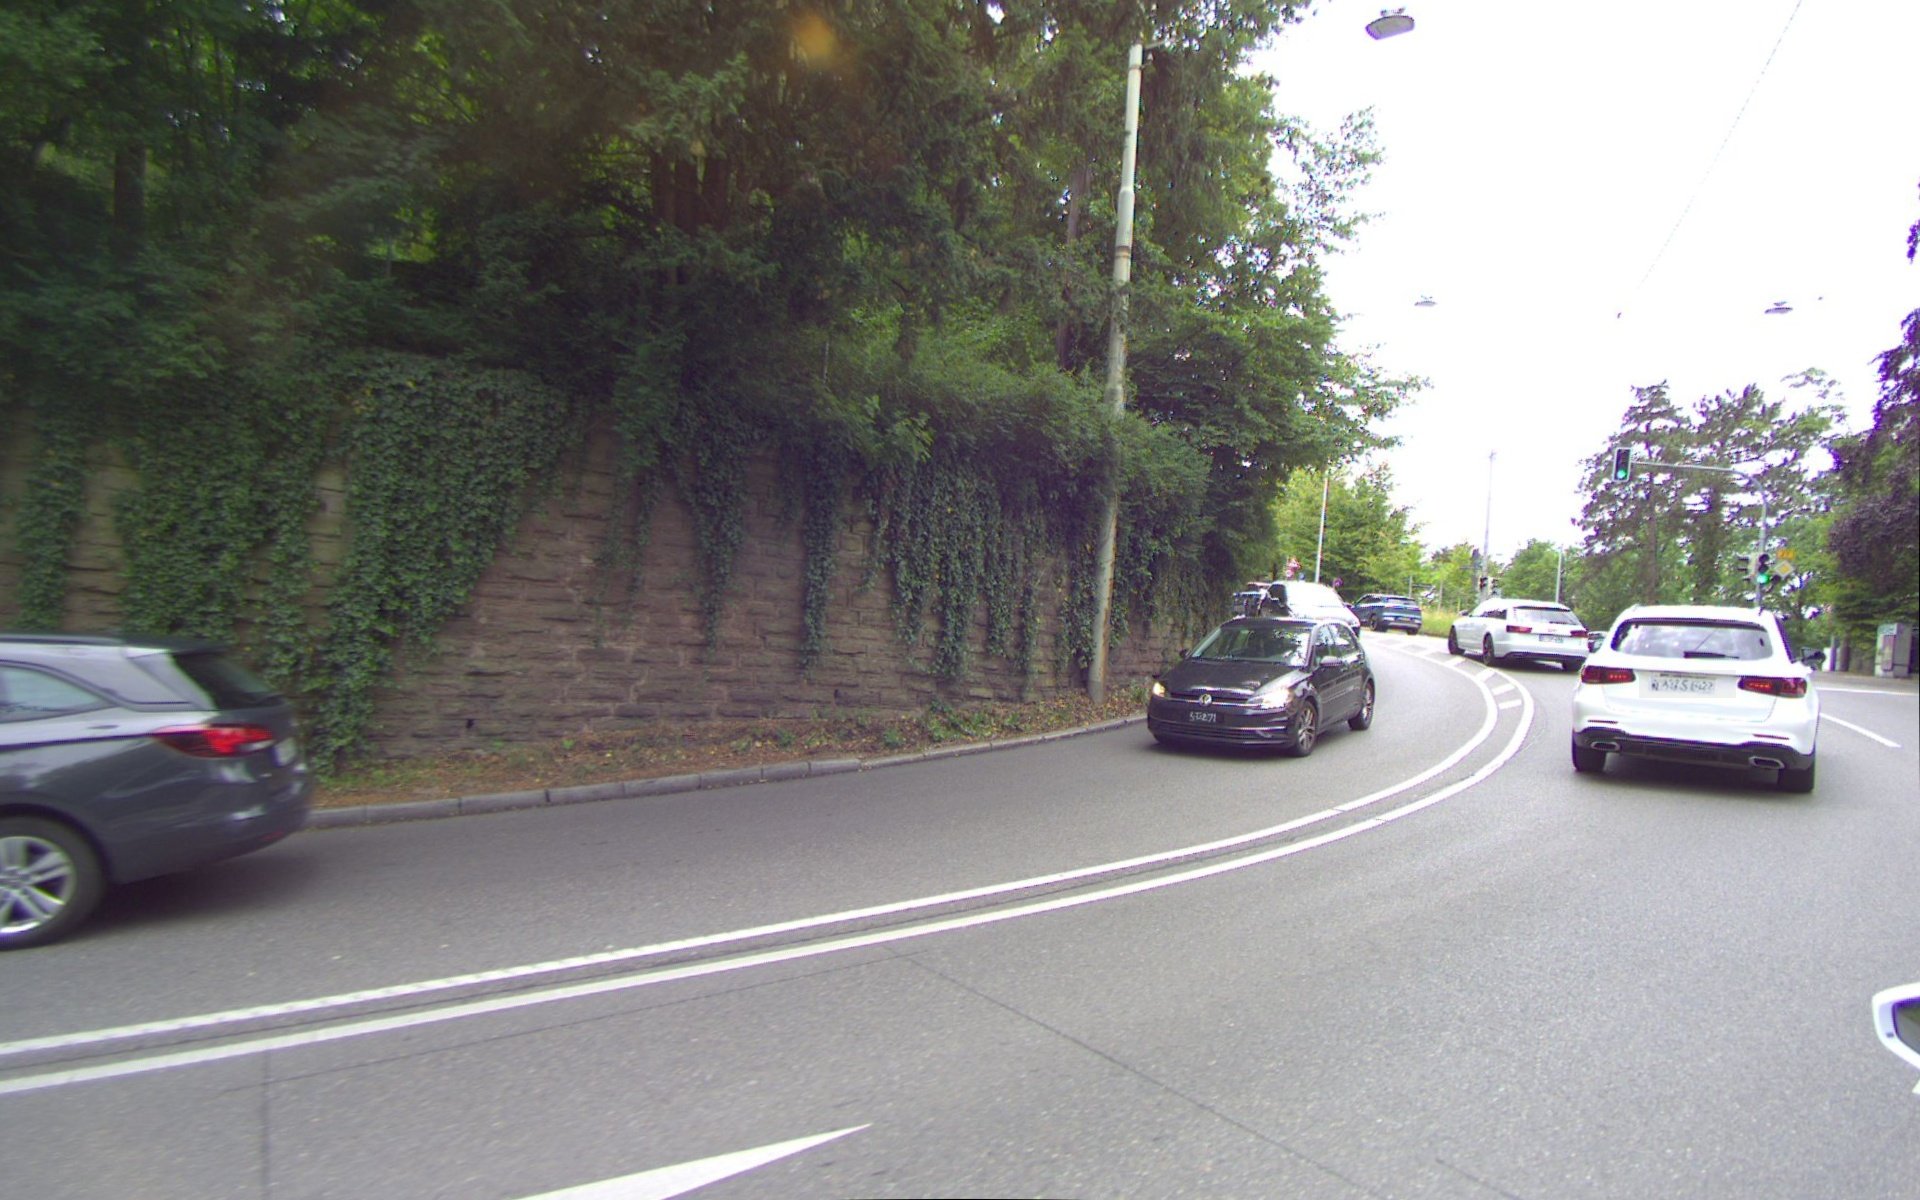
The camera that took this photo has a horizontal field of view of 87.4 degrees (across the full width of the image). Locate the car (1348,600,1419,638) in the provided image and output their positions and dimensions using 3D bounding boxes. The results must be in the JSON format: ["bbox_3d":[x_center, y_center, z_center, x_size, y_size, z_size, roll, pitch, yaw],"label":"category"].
[{"bbox_3d":[17.457,0.745,41.595,1.600,1.439,3.856,1,1,5],"label":"car"}]

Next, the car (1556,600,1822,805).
[{"bbox_3d":[7.795,0.838,10.534,1.838,1.627,4.646,0,0,41],"label":"car"}]

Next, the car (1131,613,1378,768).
[{"bbox_3d":[3.724,0.934,12.242,1.777,1.462,3.988,0,1,34],"label":"car"}]

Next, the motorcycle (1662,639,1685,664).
[{"bbox_3d":[34.109,2.469,48.029,1.571,1.167,0.593,4,-1,-45],"label":"motorcycle"}]

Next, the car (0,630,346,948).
[{"bbox_3d":[-5.609,0.885,4.977,4.241,1.459,1.651,1,-1,-28],"label":"car"}]

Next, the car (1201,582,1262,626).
[{"bbox_3d":[12.312,0.154,45.699,1.758,1.658,3.736,6,3,2],"label":"car"}]

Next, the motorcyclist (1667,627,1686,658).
[{"bbox_3d":[34.288,2.028,48.077,0.752,1.449,0.593,3,0,-45],"label":"motorcyclist"}]

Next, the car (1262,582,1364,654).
[{"bbox_3d":[9.049,0.397,26.082,1.576,1.595,4.063,0,3,6],"label":"car"}]

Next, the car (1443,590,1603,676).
[{"bbox_3d":[12.701,0.650,23.034,1.833,1.555,4.778,3,3,13],"label":"car"}]
